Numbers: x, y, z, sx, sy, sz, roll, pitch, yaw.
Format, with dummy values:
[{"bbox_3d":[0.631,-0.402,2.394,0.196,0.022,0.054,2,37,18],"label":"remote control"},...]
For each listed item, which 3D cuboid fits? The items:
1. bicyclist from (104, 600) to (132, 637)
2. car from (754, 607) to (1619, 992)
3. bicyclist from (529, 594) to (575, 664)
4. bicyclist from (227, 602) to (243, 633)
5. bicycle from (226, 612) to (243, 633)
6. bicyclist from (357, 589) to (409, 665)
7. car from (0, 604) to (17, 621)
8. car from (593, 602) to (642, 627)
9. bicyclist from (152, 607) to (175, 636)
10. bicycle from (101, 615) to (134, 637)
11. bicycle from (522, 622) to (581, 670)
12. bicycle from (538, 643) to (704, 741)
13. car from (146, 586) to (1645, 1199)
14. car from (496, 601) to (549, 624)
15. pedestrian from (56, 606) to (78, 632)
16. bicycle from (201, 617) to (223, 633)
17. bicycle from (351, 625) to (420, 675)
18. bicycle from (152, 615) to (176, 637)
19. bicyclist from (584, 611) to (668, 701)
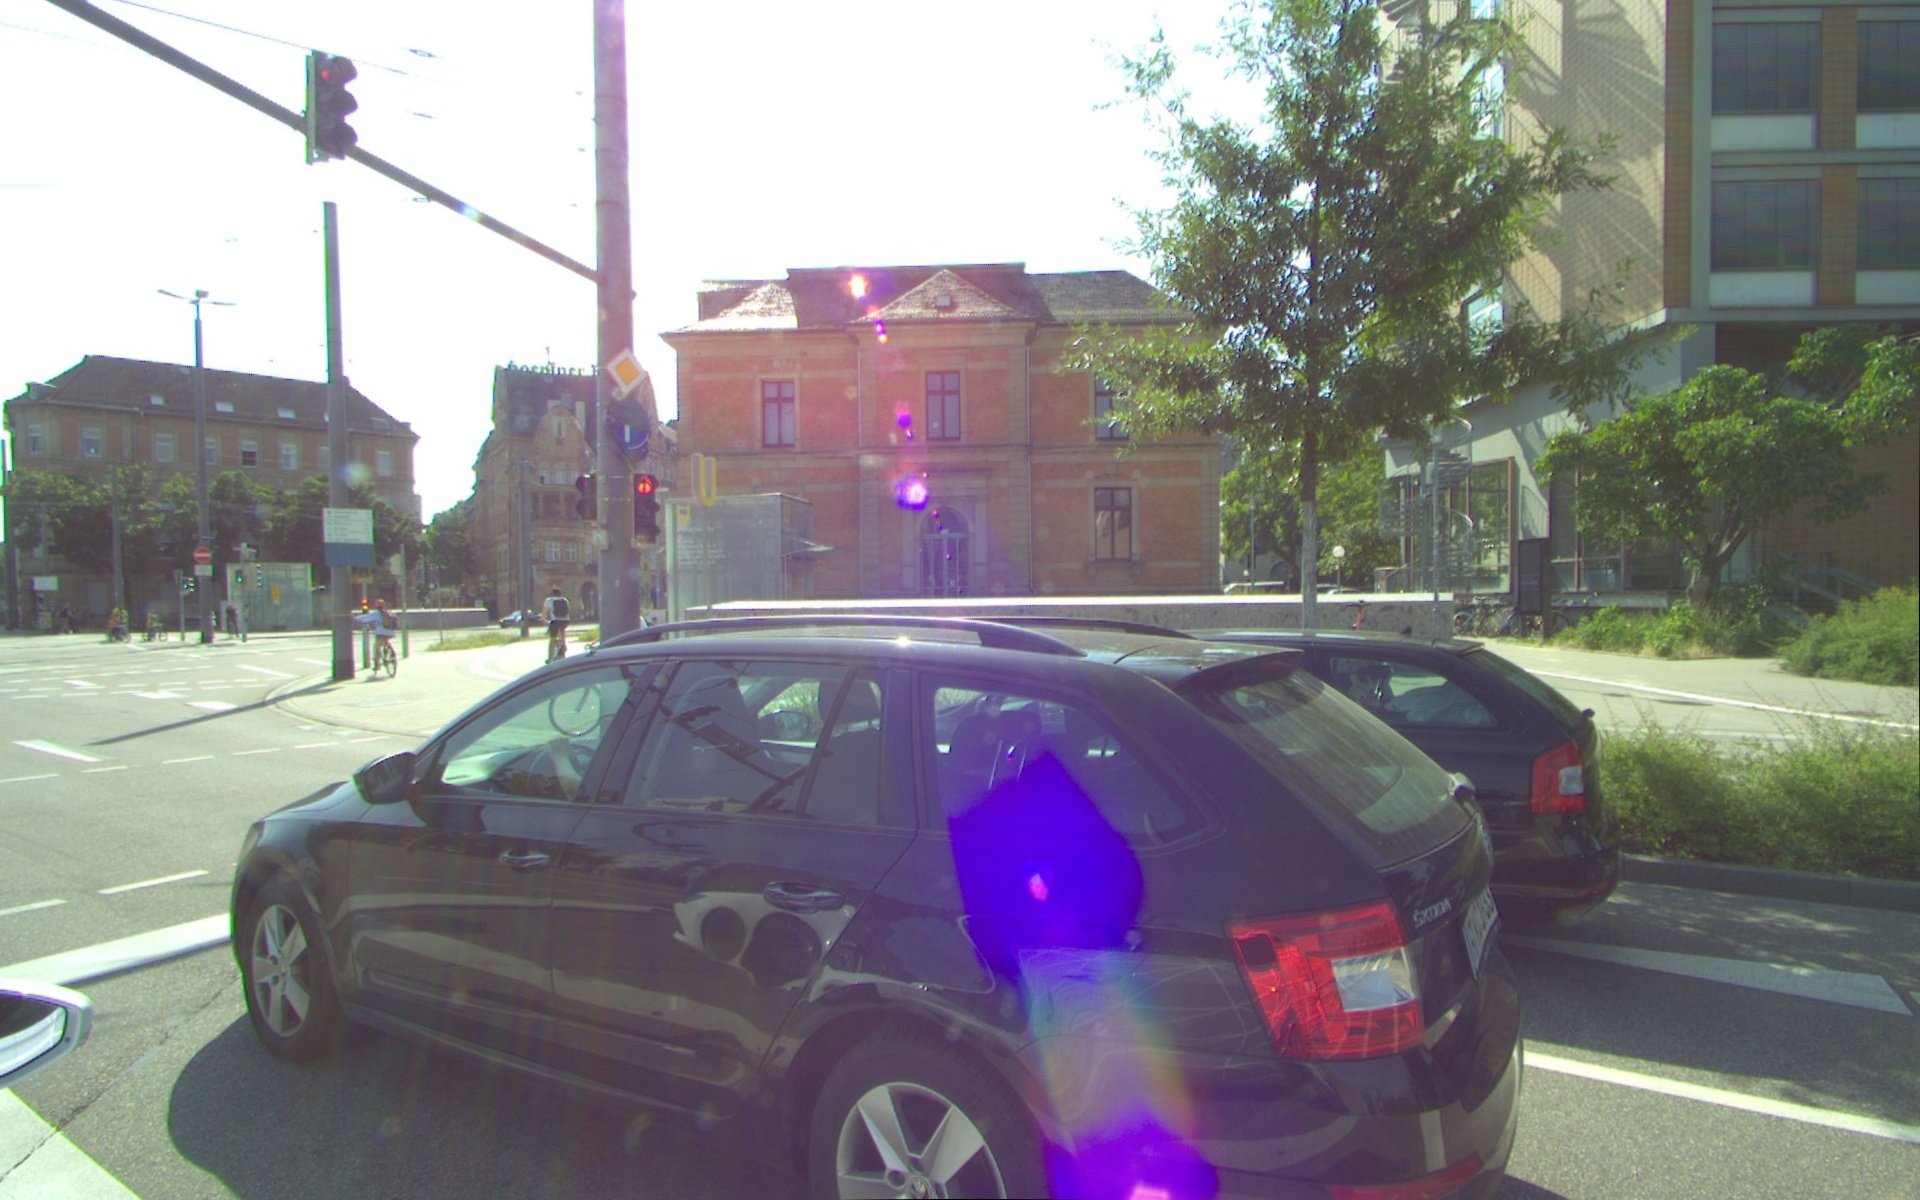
[{"bbox_3d":[-41.844,0.929,49.771,1.041,1.843,0.922,-1,-2,42],"label":"bicyclist"},{"bbox_3d":[1.055,0.790,5.650,4.332,1.448,1.698,0,-1,30],"label":"car"},{"bbox_3d":[-9.096,0.650,22.313,0.708,1.507,0.943,1,-2,-38],"label":"bicyclist"},{"bbox_3d":[-39.107,0.933,54.000,0.660,1.645,0.777,1,0,-35],"label":"bicyclist"},{"bbox_3d":[-39.133,1.222,54.039,0.660,1.083,2.447,1,-1,-35],"label":"bicycle"},{"bbox_3d":[-13.228,0.610,22.962,0.864,1.692,0.710,0,3,40],"label":"bicyclist"},{"bbox_3d":[-117.188,1.485,122.845,2.094,2.040,3.962,-1,0,-43],"label":"car"},{"bbox_3d":[-19.236,0.804,56.353,1.639,1.331,3.452,-1,0,-1],"label":"car"},{"bbox_3d":[-40.743,1.097,51.239,0.919,1.470,1.242,1,-1,-38],"label":"bicyclist"},{"bbox_3d":[-41.887,1.319,49.788,2.717,1.083,0.922,-2,-2,42],"label":"bicycle"},{"bbox_3d":[-9.128,1.019,22.344,0.708,1.028,2.006,1,-2,-37],"label":"bicycle"},{"bbox_3d":[-4.299,1.133,12.720,1.887,1.029,0.714,-3,2,-24],"label":"bicycle"},{"bbox_3d":[-0.670,0.770,3.290,4.710,1.454,1.628,-1,-1,31],"label":"car"},{"bbox_3d":[-32.500,0.934,74.459,1.607,1.604,3.998,-1,-1,11],"label":"car"},{"bbox_3d":[-51.073,1.085,57.288,0.699,1.451,0.614,0,-1,-5],"label":"pedestrian"},{"bbox_3d":[-39.566,1.319,52.962,1.567,0.877,0.498,0,-1,38],"label":"bicycle"},{"bbox_3d":[-13.212,1.127,22.997,1.997,1.029,0.710,-1,3,41],"label":"bicycle"},{"bbox_3d":[-40.599,1.293,51.116,0.919,1.083,2.819,1,-1,-38],"label":"bicycle"},{"bbox_3d":[-4.257,0.688,12.734,0.901,1.043,0.714,-3,2,-24],"label":"bicyclist"}]
